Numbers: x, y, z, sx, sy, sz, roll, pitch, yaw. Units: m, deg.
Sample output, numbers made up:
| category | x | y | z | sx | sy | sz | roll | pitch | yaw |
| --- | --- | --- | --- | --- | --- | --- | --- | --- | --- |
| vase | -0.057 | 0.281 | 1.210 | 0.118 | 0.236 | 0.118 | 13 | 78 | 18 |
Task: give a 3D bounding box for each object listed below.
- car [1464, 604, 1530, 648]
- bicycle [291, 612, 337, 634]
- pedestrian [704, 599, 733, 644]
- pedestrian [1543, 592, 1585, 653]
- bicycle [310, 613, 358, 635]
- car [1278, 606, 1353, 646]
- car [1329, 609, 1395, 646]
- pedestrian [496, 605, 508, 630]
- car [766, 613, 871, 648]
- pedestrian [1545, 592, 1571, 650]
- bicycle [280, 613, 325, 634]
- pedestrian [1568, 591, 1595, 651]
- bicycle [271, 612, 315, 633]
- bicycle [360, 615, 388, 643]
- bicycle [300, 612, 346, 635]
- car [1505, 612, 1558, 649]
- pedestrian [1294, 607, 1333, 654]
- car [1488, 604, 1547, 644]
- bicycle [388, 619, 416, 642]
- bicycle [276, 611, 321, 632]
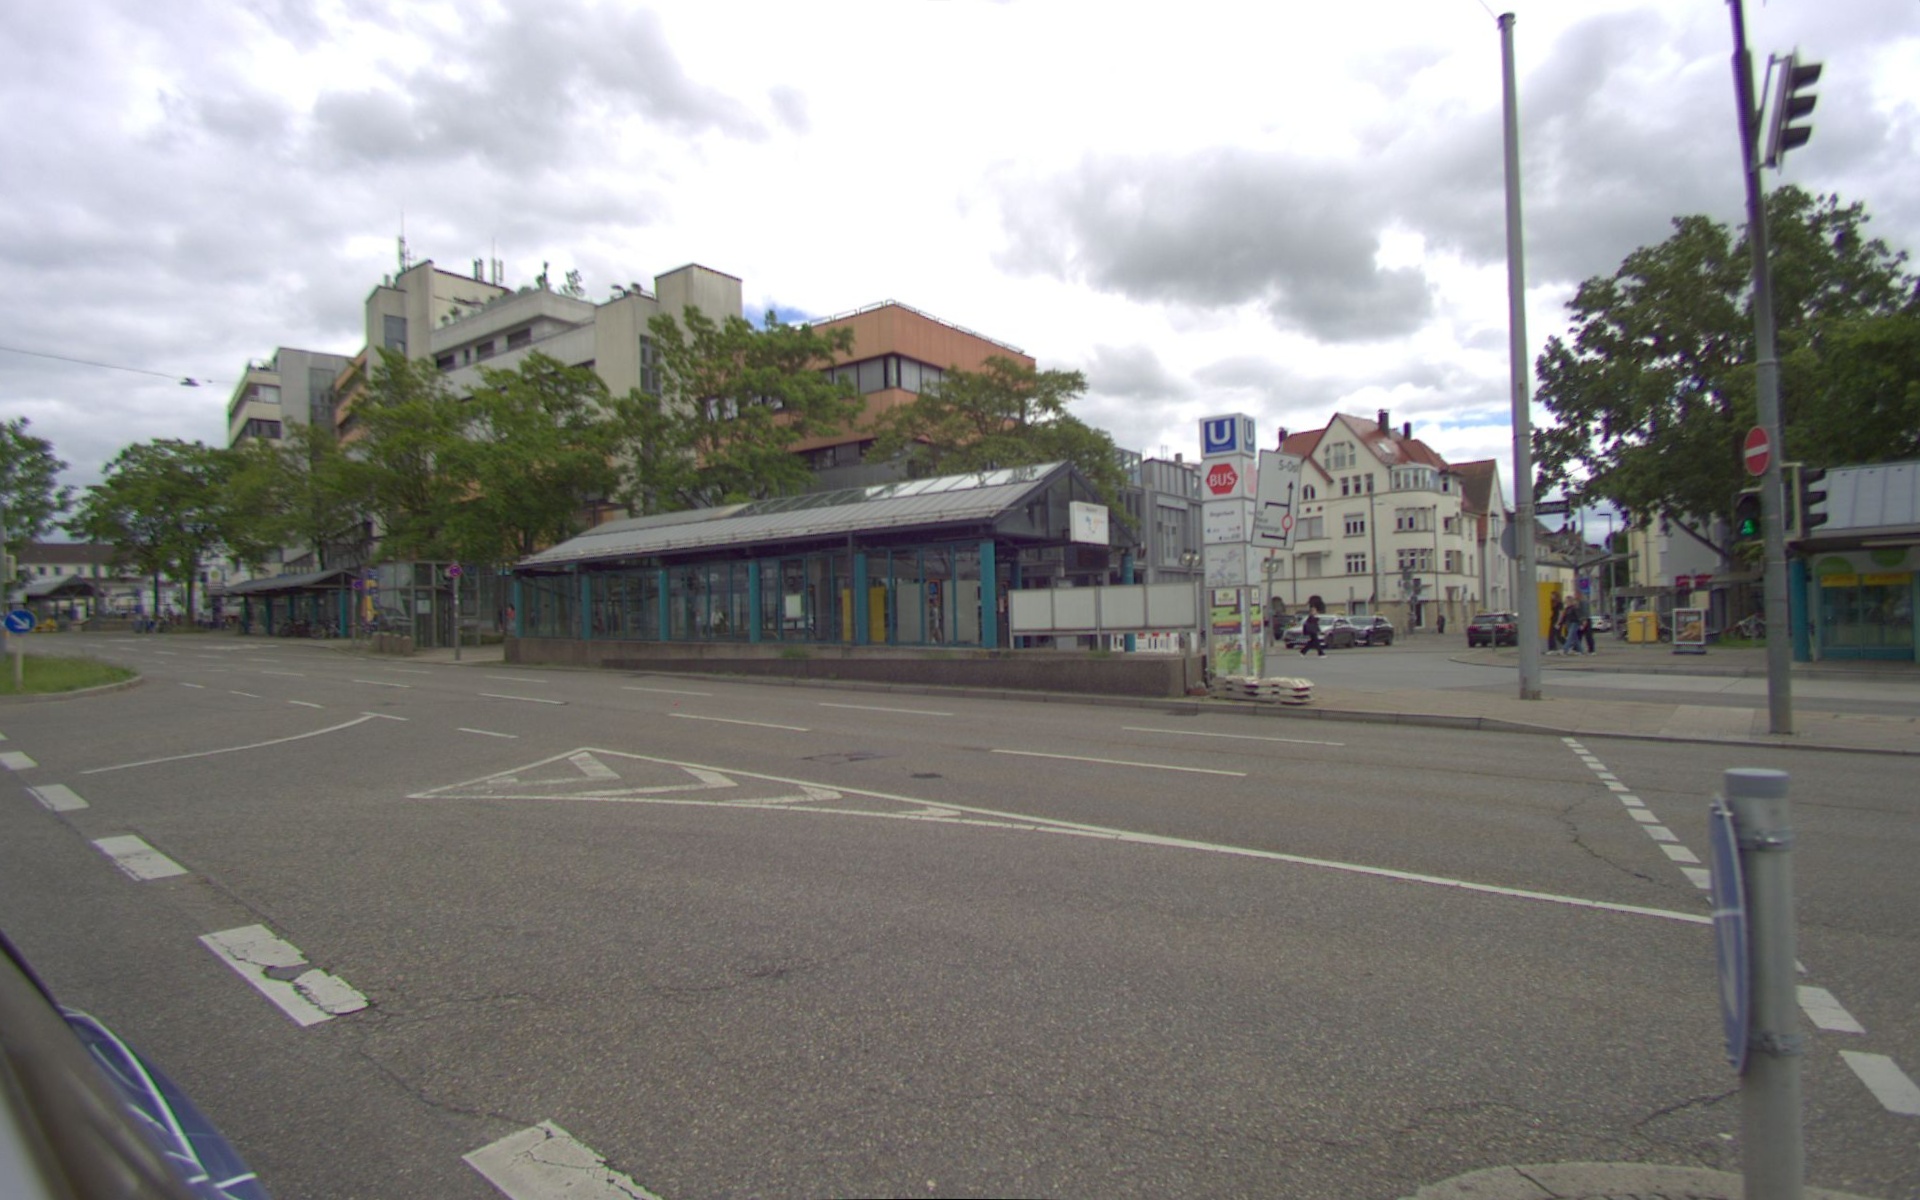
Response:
| category | x | y | z | sx | sy | sz | roll | pitch | yaw |
| --- | --- | --- | --- | --- | --- | --- | --- | --- | --- |
| car | 22.936 | 1.080 | 43.165 | 1.995 | 1.696 | 3.953 | -1 | 0 | 35 |
| bicycle | -35.755 | 1.253 | 56.039 | 0.541 | 1.098 | 2.046 | -1 | 1 | 35 |
| pedestrian | -9.227 | 0.816 | 38.702 | 0.827 | 1.692 | 0.769 | -1 | -1 | 42 |
| pedestrian | 15.800 | 0.582 | 26.468 | 0.742 | 1.559 | 0.531 | -1 | -1 | -4 |
| bicycle | -33.991 | 1.299 | 54.994 | 0.541 | 1.098 | 2.181 | -1 | 1 | 35 |
| car | 15.247 | 1.086 | 43.305 | 1.996 | 1.608 | 3.951 | -1 | 0 | 36 |
| car | 18.996 | 1.264 | 47.706 | 1.996 | 1.608 | 3.951 | -1 | 0 | 36 |
| pedestrian | -26.750 | 1.035 | 59.058 | 0.580 | 1.443 | 0.456 | -1 | -1 | 42 |
| car | -6.042 | 1.254 | 43.042 | 4.716 | 1.411 | 1.672 | -1 | -1 | 39 |
| pedestrian | 16.156 | 0.563 | 27.343 | 0.378 | 1.559 | 0.485 | -1 | -1 | -4 |
| bicycle | -36.841 | 1.323 | 56.723 | 0.542 | 1.098 | 2.043 | -1 | 1 | 40 |
| pedestrian | 16.468 | 0.558 | 26.832 | 0.378 | 1.559 | 0.485 | -1 | -1 | -4 |
| bicycle | -38.233 | 1.282 | 58.008 | 0.542 | 1.098 | 2.043 | -1 | 1 | 40 |
| bicycle | -26.809 | 1.324 | 46.281 | 1.948 | 1.234 | 0.514 | -1 | 0 | 42 |
| bicycle | -34.834 | 1.286 | 55.345 | 0.541 | 1.147 | 2.046 | -1 | 1 | 35 |
| car | 29.453 | 1.527 | 52.099 | 1.995 | 1.696 | 3.953 | -1 | 0 | 35 |
| pedestrian | 11.230 | 0.972 | 32.175 | 0.992 | 1.472 | 0.584 | -1 | -1 | 41 |
| car | 26.309 | 1.123 | 47.704 | 1.995 | 1.696 | 3.953 | -1 | 0 | 35 |
| bicycle | -26.127 | 1.424 | 47.354 | 2.050 | 1.034 | 0.514 | -1 | 0 | 42 |
| bicycle | -37.534 | 1.213 | 57.418 | 0.542 | 1.147 | 2.043 | -1 | 1 | 40 |
